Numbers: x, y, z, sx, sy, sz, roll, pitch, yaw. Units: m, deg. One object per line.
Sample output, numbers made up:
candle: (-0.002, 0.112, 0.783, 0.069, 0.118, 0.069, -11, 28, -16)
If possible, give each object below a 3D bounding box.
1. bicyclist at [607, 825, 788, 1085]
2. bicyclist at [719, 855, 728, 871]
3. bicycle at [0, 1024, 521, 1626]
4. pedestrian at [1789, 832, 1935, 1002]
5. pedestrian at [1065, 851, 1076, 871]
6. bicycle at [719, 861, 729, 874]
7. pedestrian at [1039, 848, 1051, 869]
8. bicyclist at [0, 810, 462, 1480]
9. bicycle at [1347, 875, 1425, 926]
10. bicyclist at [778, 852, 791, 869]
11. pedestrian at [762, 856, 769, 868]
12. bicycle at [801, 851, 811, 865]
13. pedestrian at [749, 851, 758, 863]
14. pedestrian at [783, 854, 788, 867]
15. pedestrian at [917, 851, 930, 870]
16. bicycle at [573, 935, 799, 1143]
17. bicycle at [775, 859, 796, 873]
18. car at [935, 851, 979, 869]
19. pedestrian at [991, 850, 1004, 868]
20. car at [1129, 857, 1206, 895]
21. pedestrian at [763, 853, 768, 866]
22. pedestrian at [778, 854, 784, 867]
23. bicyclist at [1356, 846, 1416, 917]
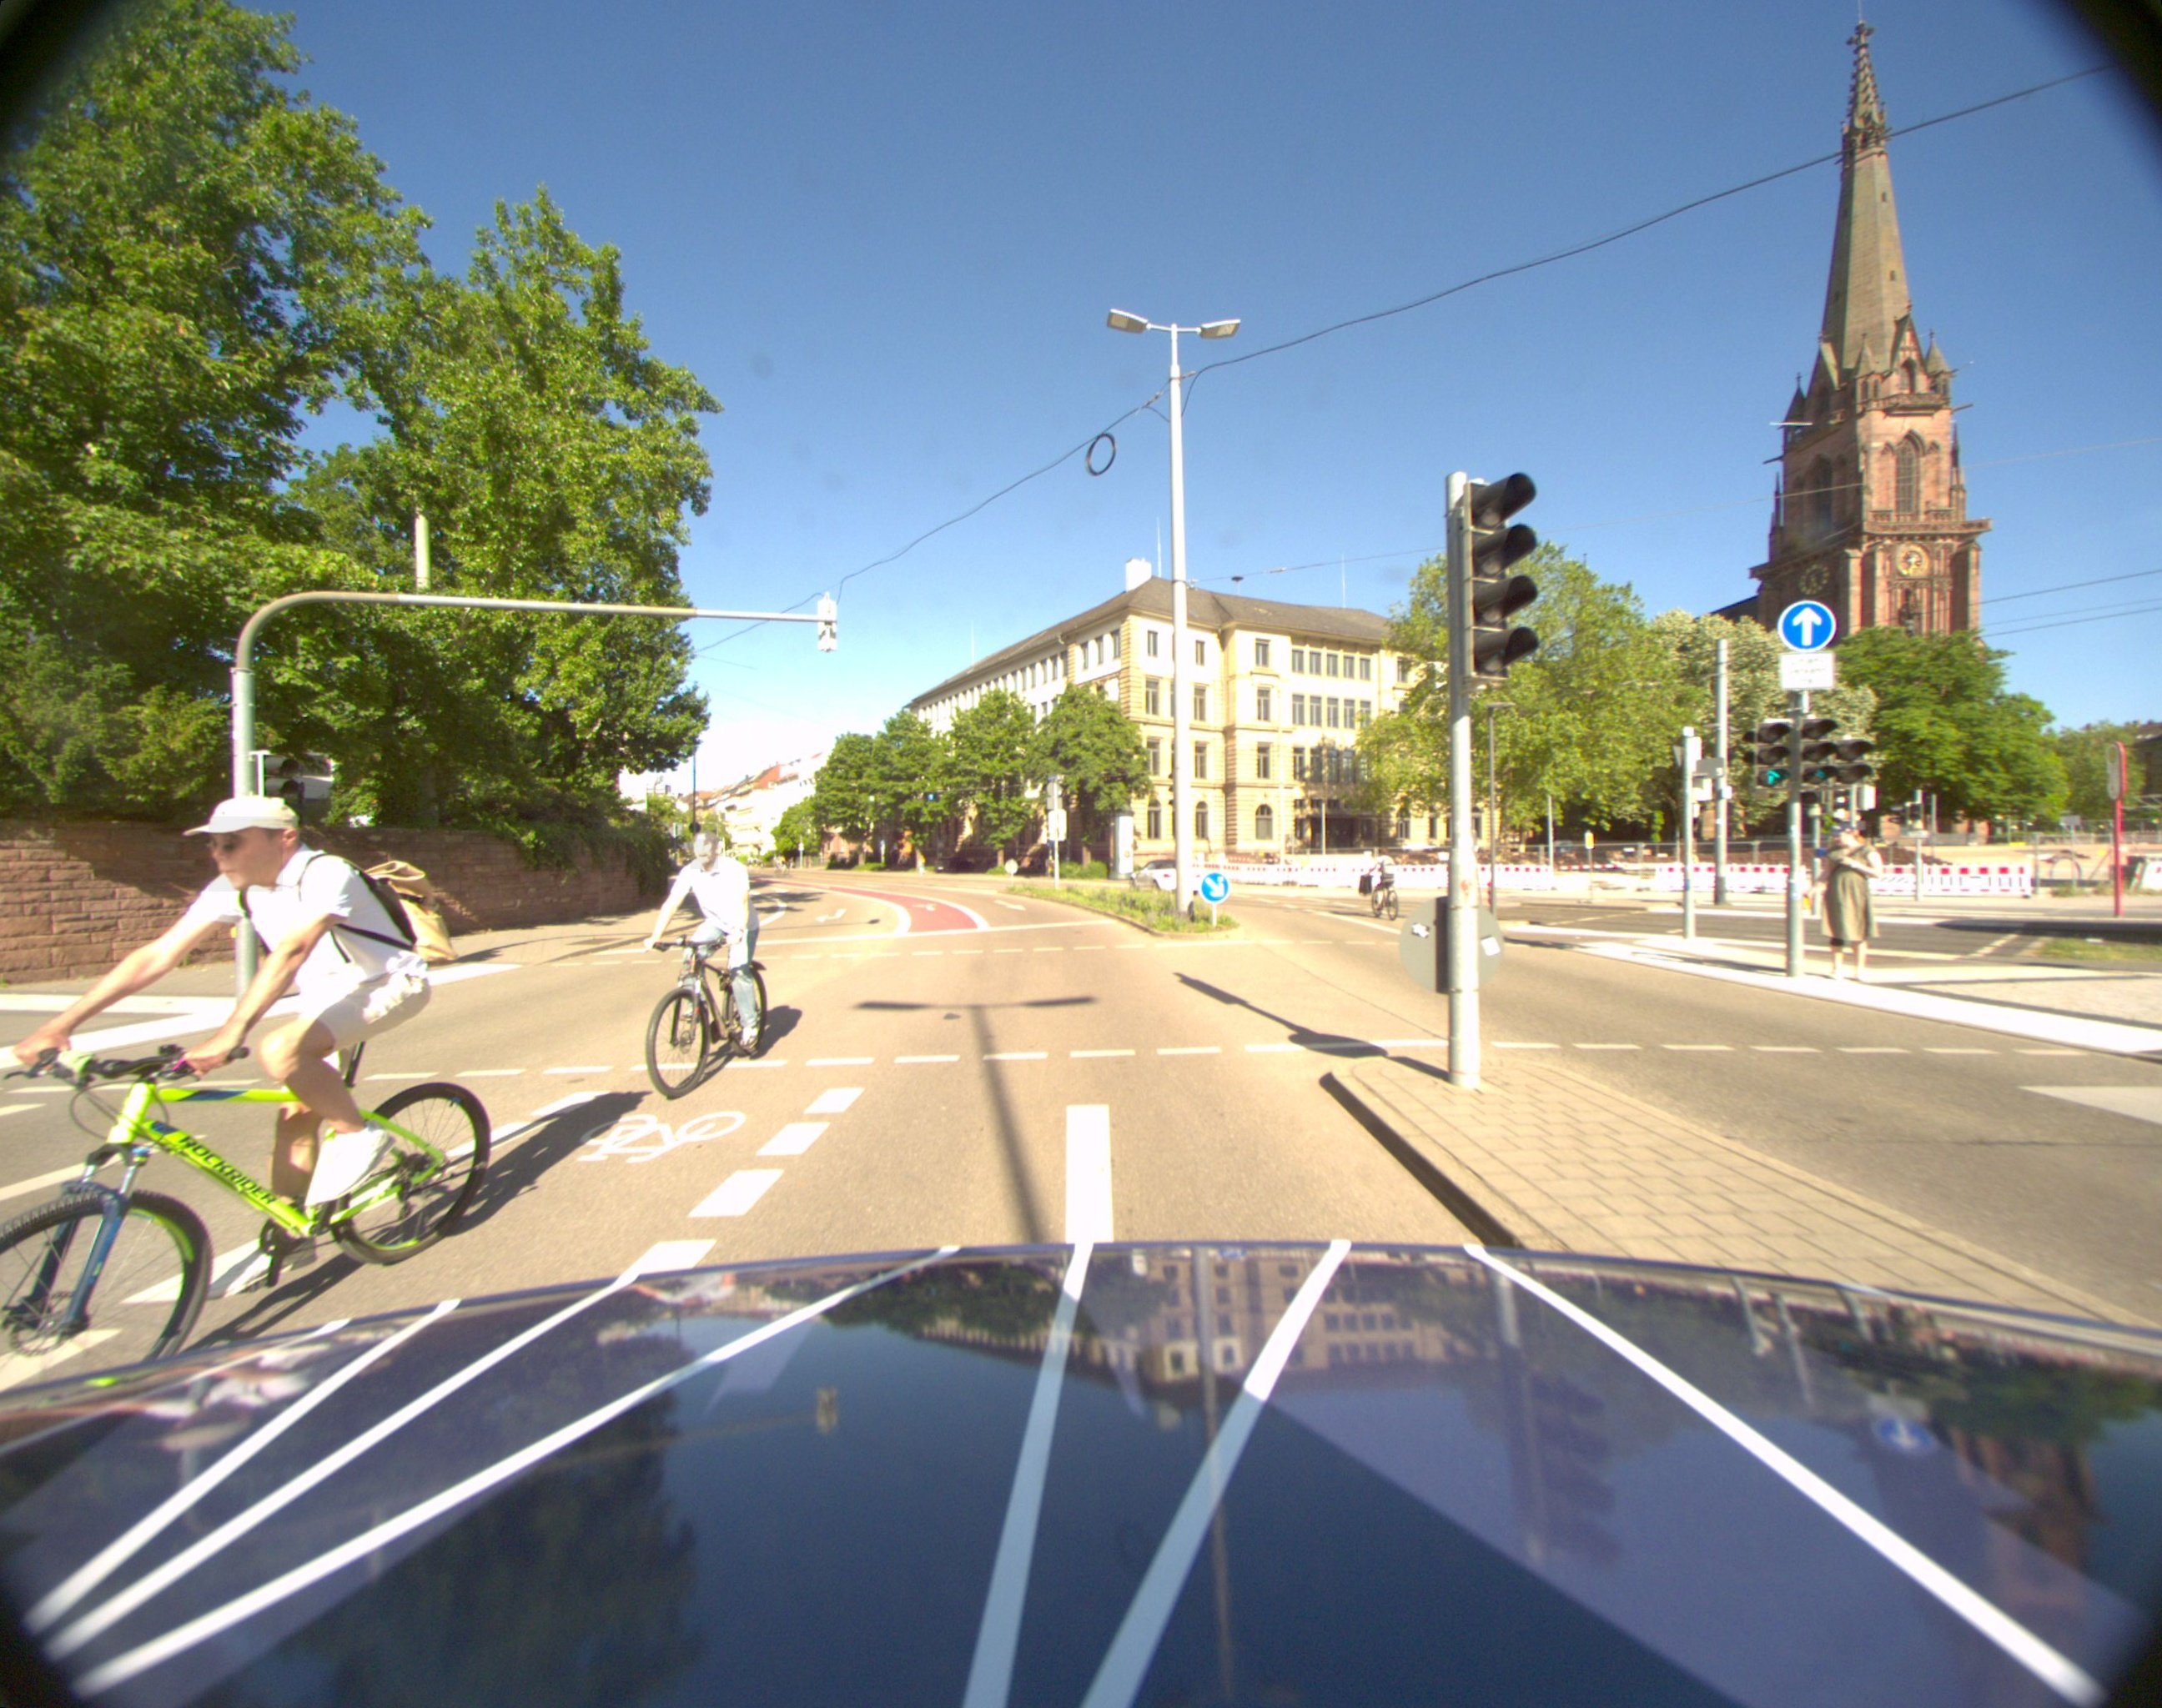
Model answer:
bicyclist: (-2.812, 0.690, 5.686, 0.751, 1.765, 1.014, -1, 1, 3)
bicyclist: (-32.640, 0.843, 69.395, 0.666, 1.453, 0.621, -3, 3, -30)
bicycle: (-2.797, 1.260, 2.314, 0.664, 1.041, 1.891, -3, 0, 3)
pedestrian: (9.040, 0.701, 8.819, 0.902, 1.839, 0.763, -2, -1, -14)
pedestrian: (-0.814, 0.542, 57.905, 0.580, 1.553, 0.652, -1, 1, -34)
bicycle: (-32.604, 1.200, 69.365, 0.666, 1.146, 1.668, -3, 2, -30)
pedestrian: (-2.958, 0.385, 62.601, 0.731, 1.660, 0.844, -1, 3, -24)
bicyclist: (-2.830, 0.773, 2.487, 0.665, 1.737, 1.006, -3, 0, 3)
bicycle: (7.253, 1.080, 18.186, 0.776, 1.074, 2.033, 0, 1, -10)
bicyclist: (-27.394, 0.612, 70.173, 0.881, 1.574, 0.743, -3, 3, -41)
pedestrian: (-47.925, 1.156, 115.404, 0.730, 1.845, 0.652, -1, 1, -31)
bicycle: (-38.900, 0.582, 107.358, 1.005, 1.877, 3.887, -2, 2, -16)
pedestrian: (-48.449, 0.390, 112.342, 0.677, 1.728, 0.933, 0, 1, 37)
pedestrian: (-42.634, 0.915, 109.687, 0.580, 1.845, 0.683, -1, 1, -33)
pedestrian: (-14.345, 0.615, 69.102, 0.773, 1.658, 1.031, 1, -4, -38)
bicycle: (-2.792, 1.248, 5.628, 0.612, 1.071, 1.830, -1, 1, 3)
bicycle: (-27.335, 1.087, 70.238, 1.602, 1.145, 0.743, -3, 3, -41)
car: (-11.372, 0.530, 69.936, 1.916, 1.565, 4.118, 0, 1, 29)
pedestrian: (-7.715, 0.462, 70.275, 0.674, 1.558, 0.856, -6, 5, -38)
car: (3.423, 0.837, 30.850, 1.807, 1.385, 4.087, 1, 0, -14)
pedestrian: (-47.928, 0.835, 115.356, 0.580, 1.845, 0.683, -1, 1, -33)
pedestrian: (-43.170, 0.940, 109.284, 0.580, 1.845, 0.683, -1, 1, -33)
bicyclist: (7.271, 0.628, 18.152, 0.883, 1.635, 1.059, 0, 1, -10)
